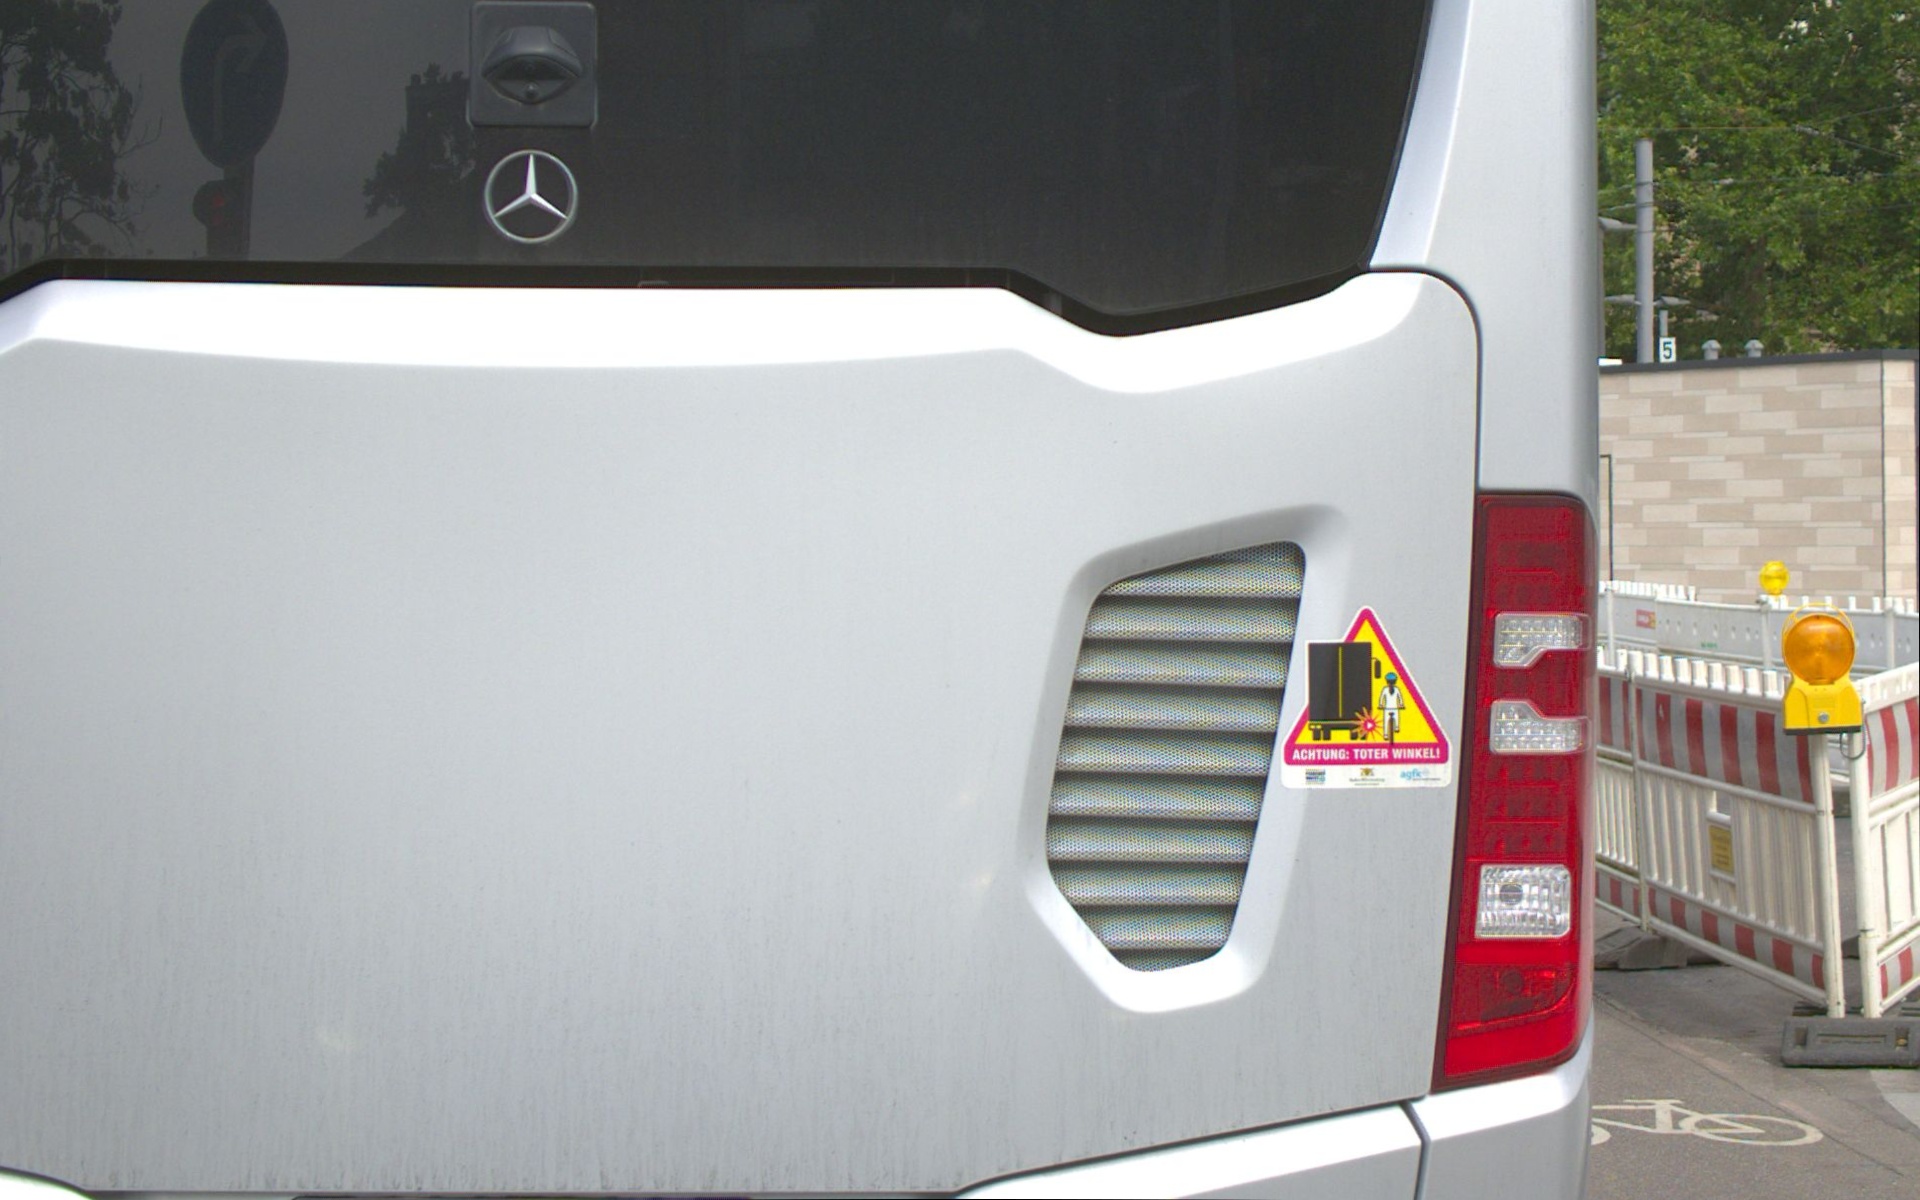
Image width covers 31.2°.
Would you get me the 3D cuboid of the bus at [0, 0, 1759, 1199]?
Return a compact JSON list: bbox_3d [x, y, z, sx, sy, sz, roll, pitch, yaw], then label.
[{"bbox_3d":[-0.587,-0.427,10.459,2.704,3.426,14.184,0,1,0],"label":"bus"}]
